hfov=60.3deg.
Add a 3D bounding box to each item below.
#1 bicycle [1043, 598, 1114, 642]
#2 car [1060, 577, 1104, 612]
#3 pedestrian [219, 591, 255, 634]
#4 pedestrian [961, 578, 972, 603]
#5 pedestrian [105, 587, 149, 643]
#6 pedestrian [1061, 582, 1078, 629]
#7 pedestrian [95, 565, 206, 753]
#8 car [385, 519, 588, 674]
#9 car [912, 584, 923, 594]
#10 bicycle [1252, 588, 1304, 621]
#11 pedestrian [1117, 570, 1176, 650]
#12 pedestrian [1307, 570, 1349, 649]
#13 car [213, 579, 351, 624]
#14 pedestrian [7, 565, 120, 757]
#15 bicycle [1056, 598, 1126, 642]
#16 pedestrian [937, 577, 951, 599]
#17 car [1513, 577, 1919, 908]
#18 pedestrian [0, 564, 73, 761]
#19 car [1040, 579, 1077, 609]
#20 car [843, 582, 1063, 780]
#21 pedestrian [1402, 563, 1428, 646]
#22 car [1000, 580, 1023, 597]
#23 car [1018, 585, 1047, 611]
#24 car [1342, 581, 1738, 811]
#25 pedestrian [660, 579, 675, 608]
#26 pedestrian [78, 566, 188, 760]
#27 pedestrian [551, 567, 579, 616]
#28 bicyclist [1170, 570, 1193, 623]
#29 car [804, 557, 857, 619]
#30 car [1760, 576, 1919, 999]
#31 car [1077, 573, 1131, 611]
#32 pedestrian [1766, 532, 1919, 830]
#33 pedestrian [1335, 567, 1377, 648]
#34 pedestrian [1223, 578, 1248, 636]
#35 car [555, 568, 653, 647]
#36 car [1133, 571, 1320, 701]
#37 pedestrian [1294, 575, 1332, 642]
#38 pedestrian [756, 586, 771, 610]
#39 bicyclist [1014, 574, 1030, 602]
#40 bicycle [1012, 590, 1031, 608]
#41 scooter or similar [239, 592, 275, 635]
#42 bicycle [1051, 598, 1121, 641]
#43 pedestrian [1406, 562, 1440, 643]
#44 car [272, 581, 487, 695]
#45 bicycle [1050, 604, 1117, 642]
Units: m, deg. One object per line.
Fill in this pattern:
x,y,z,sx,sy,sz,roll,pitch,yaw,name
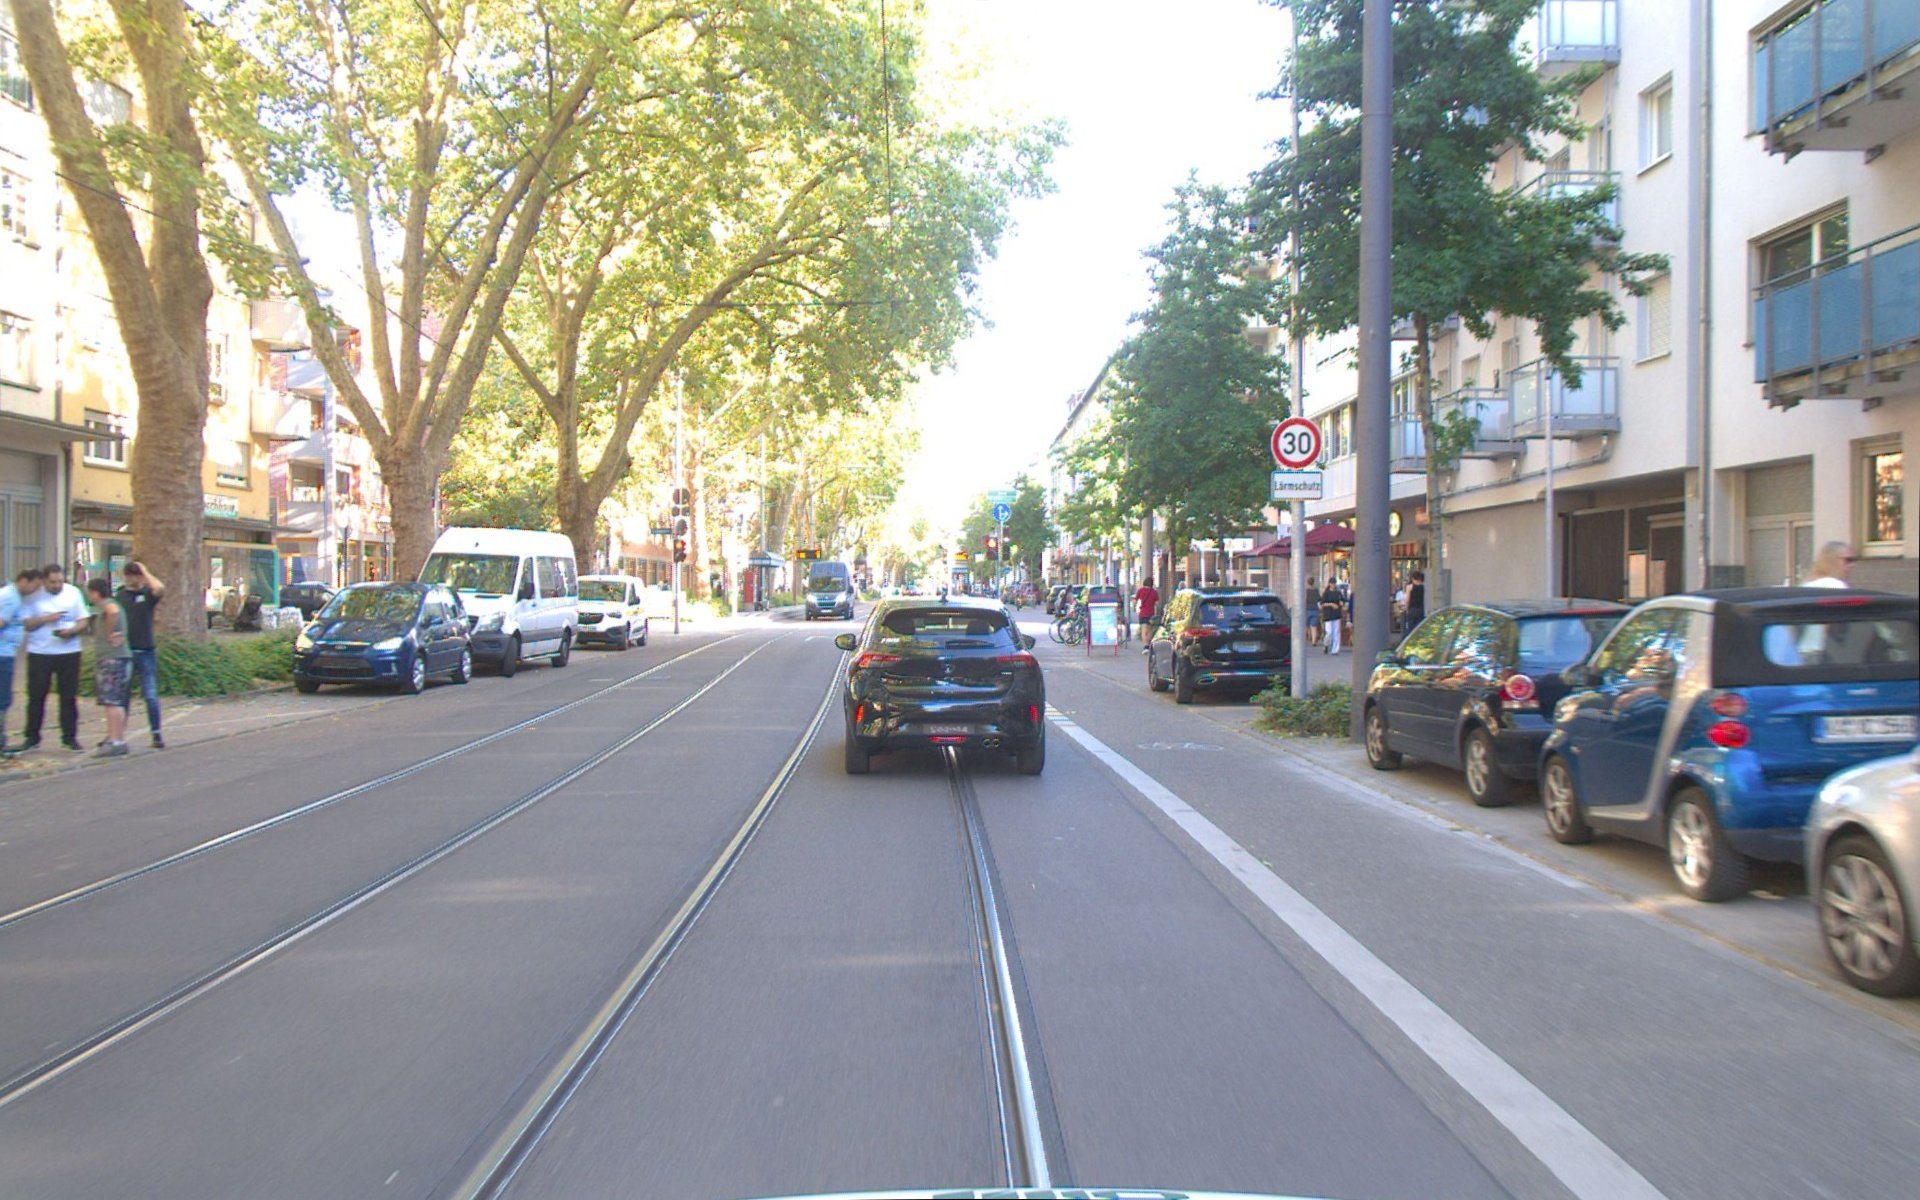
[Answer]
3.055,0.509,42.754,1.778,1.119,0.525,0,0,-2,bicycle
5.906,-0.262,80.248,1.763,1.634,4.414,1,0,-1,car
-20.328,0.360,46.501,0.629,1.187,0.675,1,0,25,pedestrian
0.423,-0.651,110.128,0.618,1.603,0.870,2,0,-1,pedestrian
-19.718,0.347,39.143,0.659,1.294,0.644,1,0,22,pedestrian
3.698,0.194,55.871,0.540,1.589,0.645,1,-1,3,pedestrian
-7.995,0.570,16.359,0.697,1.808,0.770,1,0,-2,pedestrian
-8.773,-0.061,31.305,2.064,2.622,6.023,1,0,0,car
-6.642,-1.753,259.739,1.710,1.571,3.998,1,0,-2,car
12.294,0.166,63.982,1.876,1.228,0.511,0,1,-5,bicycle
4.262,0.233,37.790,1.035,1.789,0.868,1,0,-34,pedestrian
8.000,0.204,35.965,0.629,1.666,0.869,-2,0,-3,pedestrian
-25.421,0.055,62.144,4.349,1.481,1.996,3,0,-9,car
-8.526,0.563,15.733,0.756,1.765,0.710,0,0,40,pedestrian
3.439,0.528,43.520,1.782,1.119,0.480,1,0,-9,bicycle
-1.252,-0.945,129.120,0.736,1.739,0.761,1,0,34,pedestrian
4.425,0.675,9.523,1.415,1.564,2.880,-2,1,-1,car
-8.756,0.561,15.231,0.752,1.765,0.717,1,0,3,pedestrian
5.695,-0.342,96.209,1.819,1.644,4.397,1,0,-1,car
-0.139,0.634,14.879,1.724,1.534,3.681,-1,0,-3,car
10.020,0.099,36.428,0.423,1.827,0.489,1,0,-2,pedestrian
4.643,-1.028,149.558,1.953,1.512,3.999,1,0,-1,car
5.697,-0.160,130.491,1.953,1.986,3.999,1,0,-2,car
4.457,0.639,13.354,1.590,1.507,3.887,-3,1,-4,car
-17.565,-0.389,99.443,0.720,1.701,0.860,1,0,-1,pedestrian
-7.719,0.574,15.462,0.755,1.765,0.711,1,0,-14,pedestrian
-15.612,-0.342,65.371,0.906,1.867,0.919,1,2,-5,pedestrian
7.371,-0.110,55.078,0.663,1.747,0.965,1,0,1,bicyclist
-6.112,-0.570,78.532,2.070,2.786,6.113,-1,0,-1,car
4.477,0.694,5.251,1.750,1.563,4.127,-2,1,-1,car
6.323,-0.347,73.011,1.953,1.644,4.444,0,0,-1,car
5.893,0.522,11.044,0.467,1.883,0.662,-6,1,-12,pedestrian
8.620,0.157,36.007,0.584,1.707,0.934,-2,0,-3,pedestrian
8.658,0.219,51.959,0.578,1.815,0.995,1,0,-2,pedestrian
-8.977,0.190,42.021,1.728,1.883,4.316,1,0,-3,car
3.763,0.468,24.109,1.724,1.615,4.326,-4,0,-3,car
8.967,0.210,42.022,0.665,1.688,0.812,1,0,-12,pedestrian
-9.937,-0.117,83.631,0.691,1.189,0.659,-1,0,-4,pedestrian
3.943,-0.768,105.819,0.844,1.790,1.052,1,0,-7,bicyclist
3.937,-0.078,105.766,0.844,1.156,2.392,1,0,-7,bicycle
-19.583,0.370,46.092,0.629,1.187,0.675,1,0,25,scooter or similar
3.353,0.507,44.120,1.782,1.119,0.496,1,0,-9,bicycle
10.511,0.055,37.554,0.517,1.837,0.628,0,0,42,pedestrian
-8.774,0.535,25.395,1.878,1.589,4.282,1,0,-2,car
3.346,0.614,44.873,1.779,1.011,0.481,1,0,-4,bicycle
